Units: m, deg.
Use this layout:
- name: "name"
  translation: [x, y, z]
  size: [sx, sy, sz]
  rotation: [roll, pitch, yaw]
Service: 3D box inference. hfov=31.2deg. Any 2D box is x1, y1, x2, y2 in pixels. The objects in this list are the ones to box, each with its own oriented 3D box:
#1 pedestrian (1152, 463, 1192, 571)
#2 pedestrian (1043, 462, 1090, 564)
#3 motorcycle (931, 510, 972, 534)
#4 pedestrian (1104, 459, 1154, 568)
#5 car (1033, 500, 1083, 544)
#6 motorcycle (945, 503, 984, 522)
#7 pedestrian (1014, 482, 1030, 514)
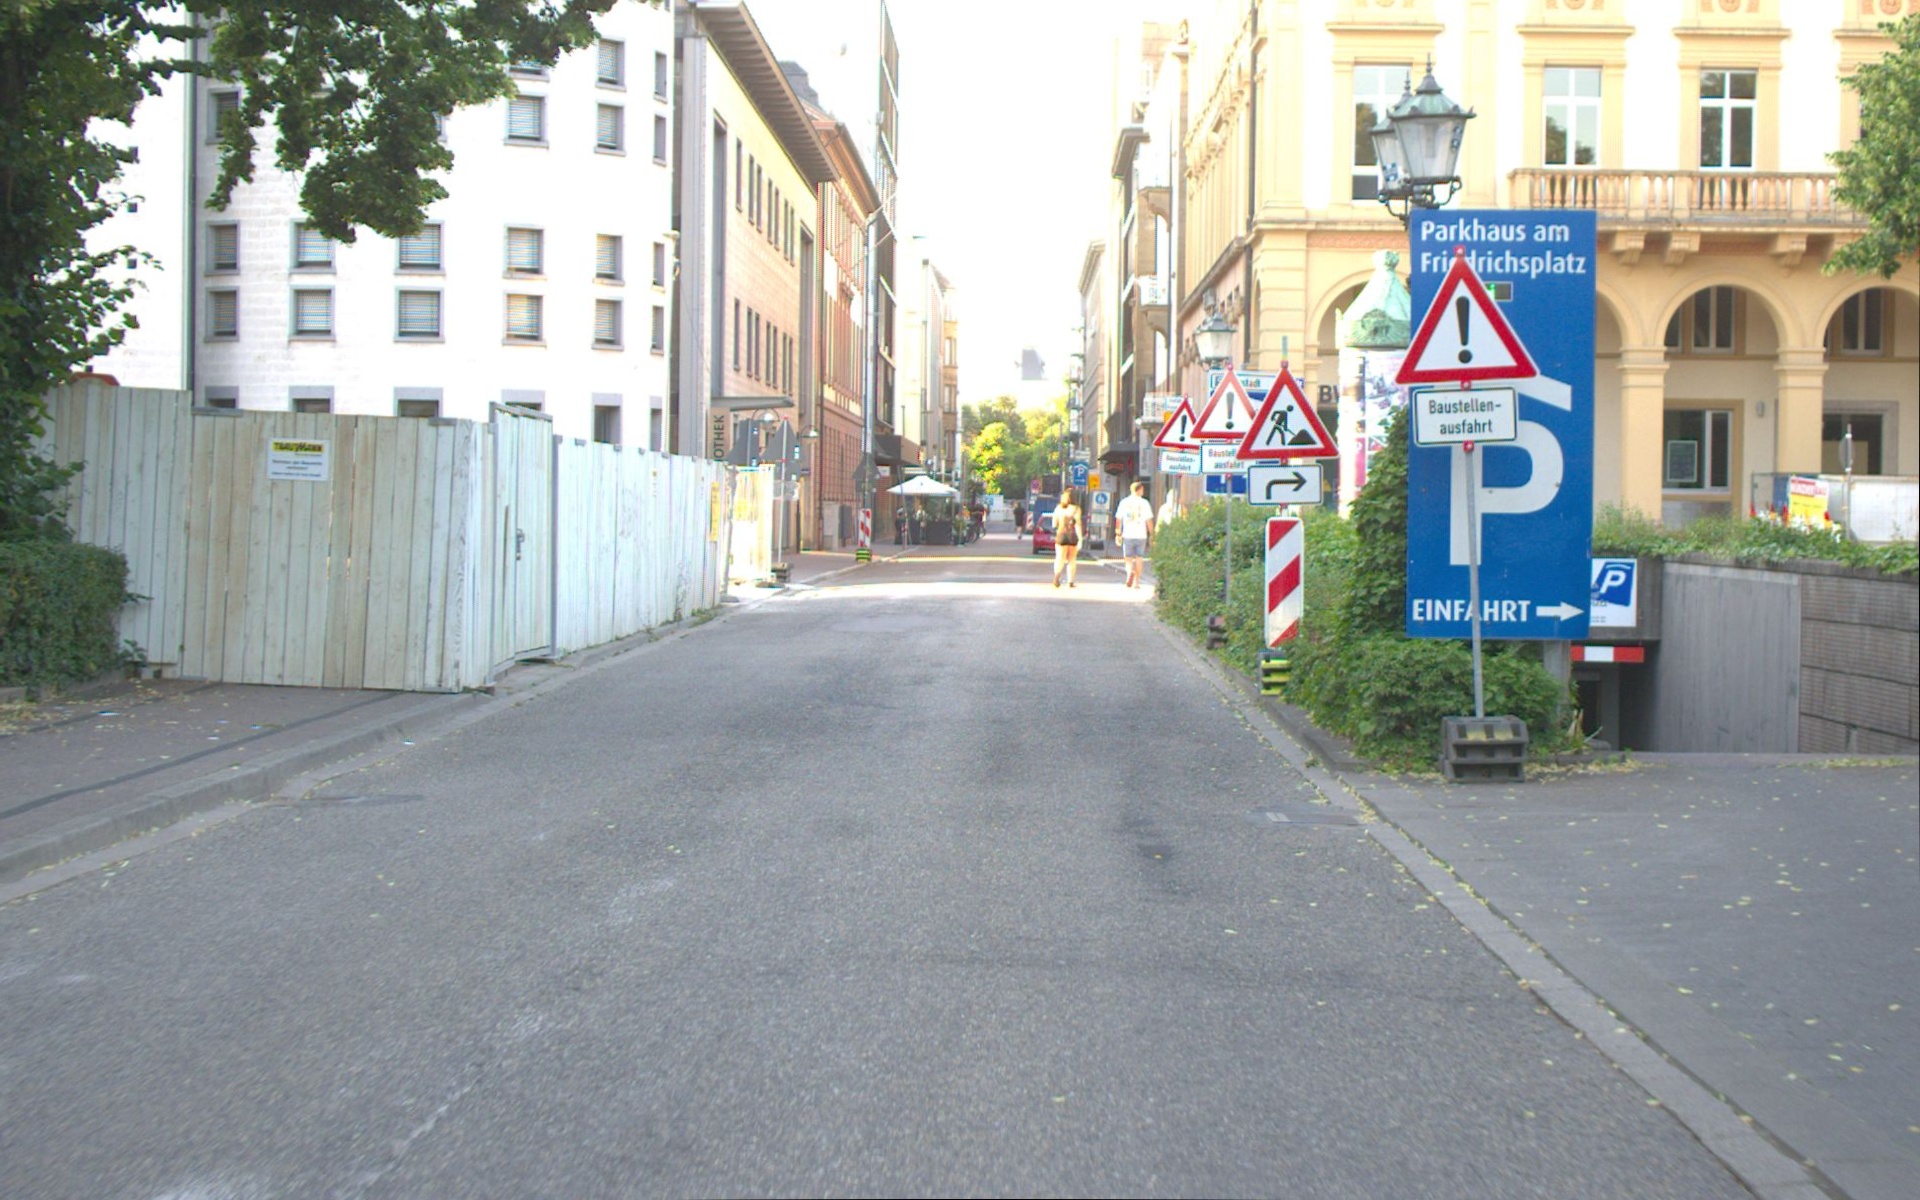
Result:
- name: "pedestrian"
  translation: [3.583, -1.405, 58.137]
  size: [0.636, 1.797, 0.772]
  rotation: [0, 2, 0]
- name: "pedestrian"
  translation: [1.831, -1.502, 59.253]
  size: [0.775, 1.740, 0.875]
  rotation: [0, 2, 0]
- name: "motorcycle"
  translation: [-0.370, -3.485, 153.055]
  size: [1.801, 1.037, 0.494]
  rotation: [1, 2, -3]
- name: "pedestrian"
  translation: [2.909, -1.491, 59.359]
  size: [0.812, 1.869, 0.875]
  rotation: [0, 2, 0]
- name: "car"
  translation: [3.471, -2.776, 121.375]
  size: [1.649, 1.422, 3.535]
  rotation: [4, 2, 2]
- name: "motorcycle"
  translation: [0.209, -4.092, 161.241]
  size: [1.801, 0.872, 0.560]
  rotation: [1, 2, -3]
- name: "pedestrian"
  translation: [3.298, -5.373, 181.606]
  size: [0.804, 1.667, 0.888]
  rotation: [1, 2, 3]
